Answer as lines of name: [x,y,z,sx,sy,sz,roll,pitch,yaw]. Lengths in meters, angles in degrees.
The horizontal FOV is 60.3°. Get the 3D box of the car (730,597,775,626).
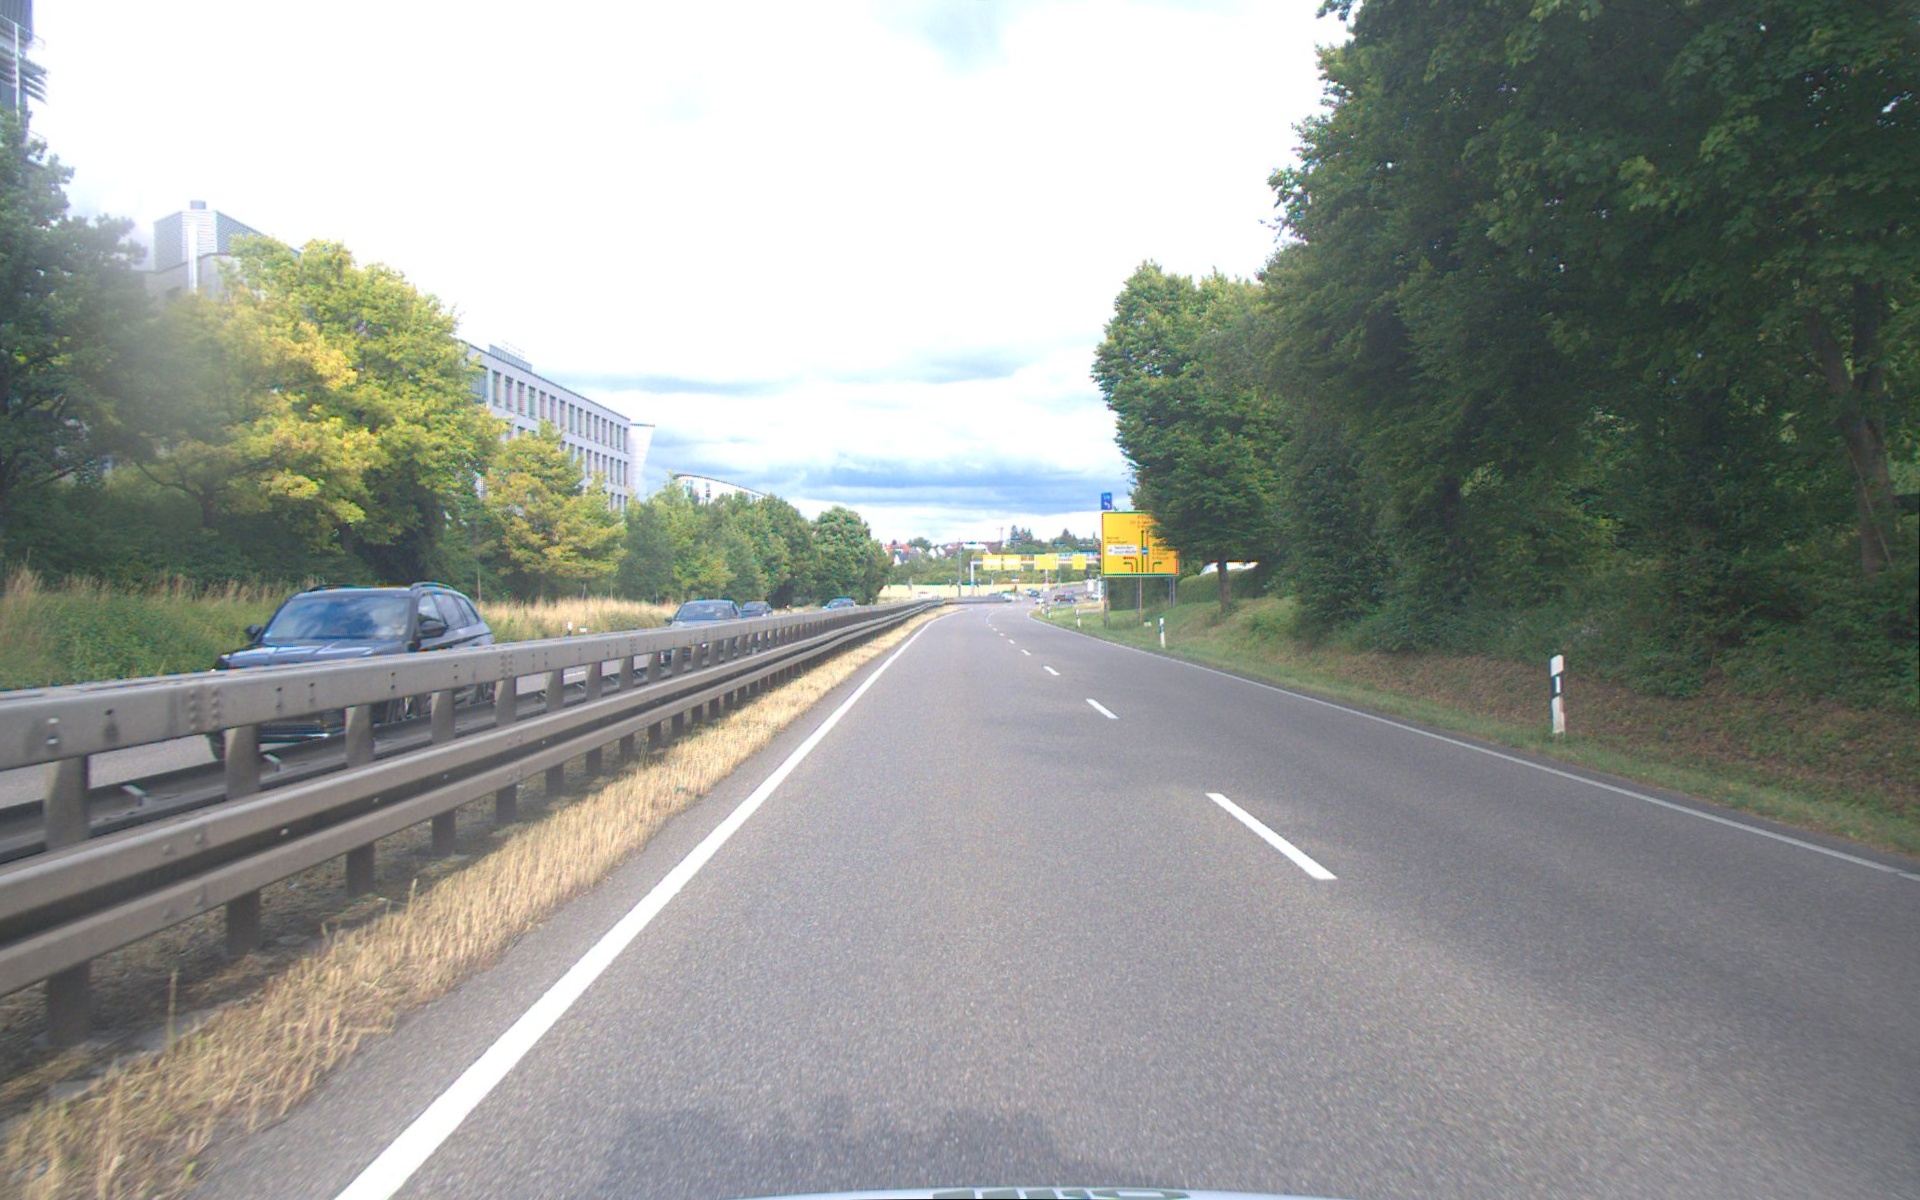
car: [-10.761,0.558,86.127,1.720,1.447,4.566,0,0,0]

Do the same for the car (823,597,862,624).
car: [-6.256,0.534,88.336,1.797,1.403,4.565,0,0,-1]

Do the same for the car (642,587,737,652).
car: [-6.712,0.462,41.435,1.707,1.483,4.311,-2,0,-1]

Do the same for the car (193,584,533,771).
car: [-6.076,0.696,17.582,1.707,1.673,5.279,-1,0,0]
